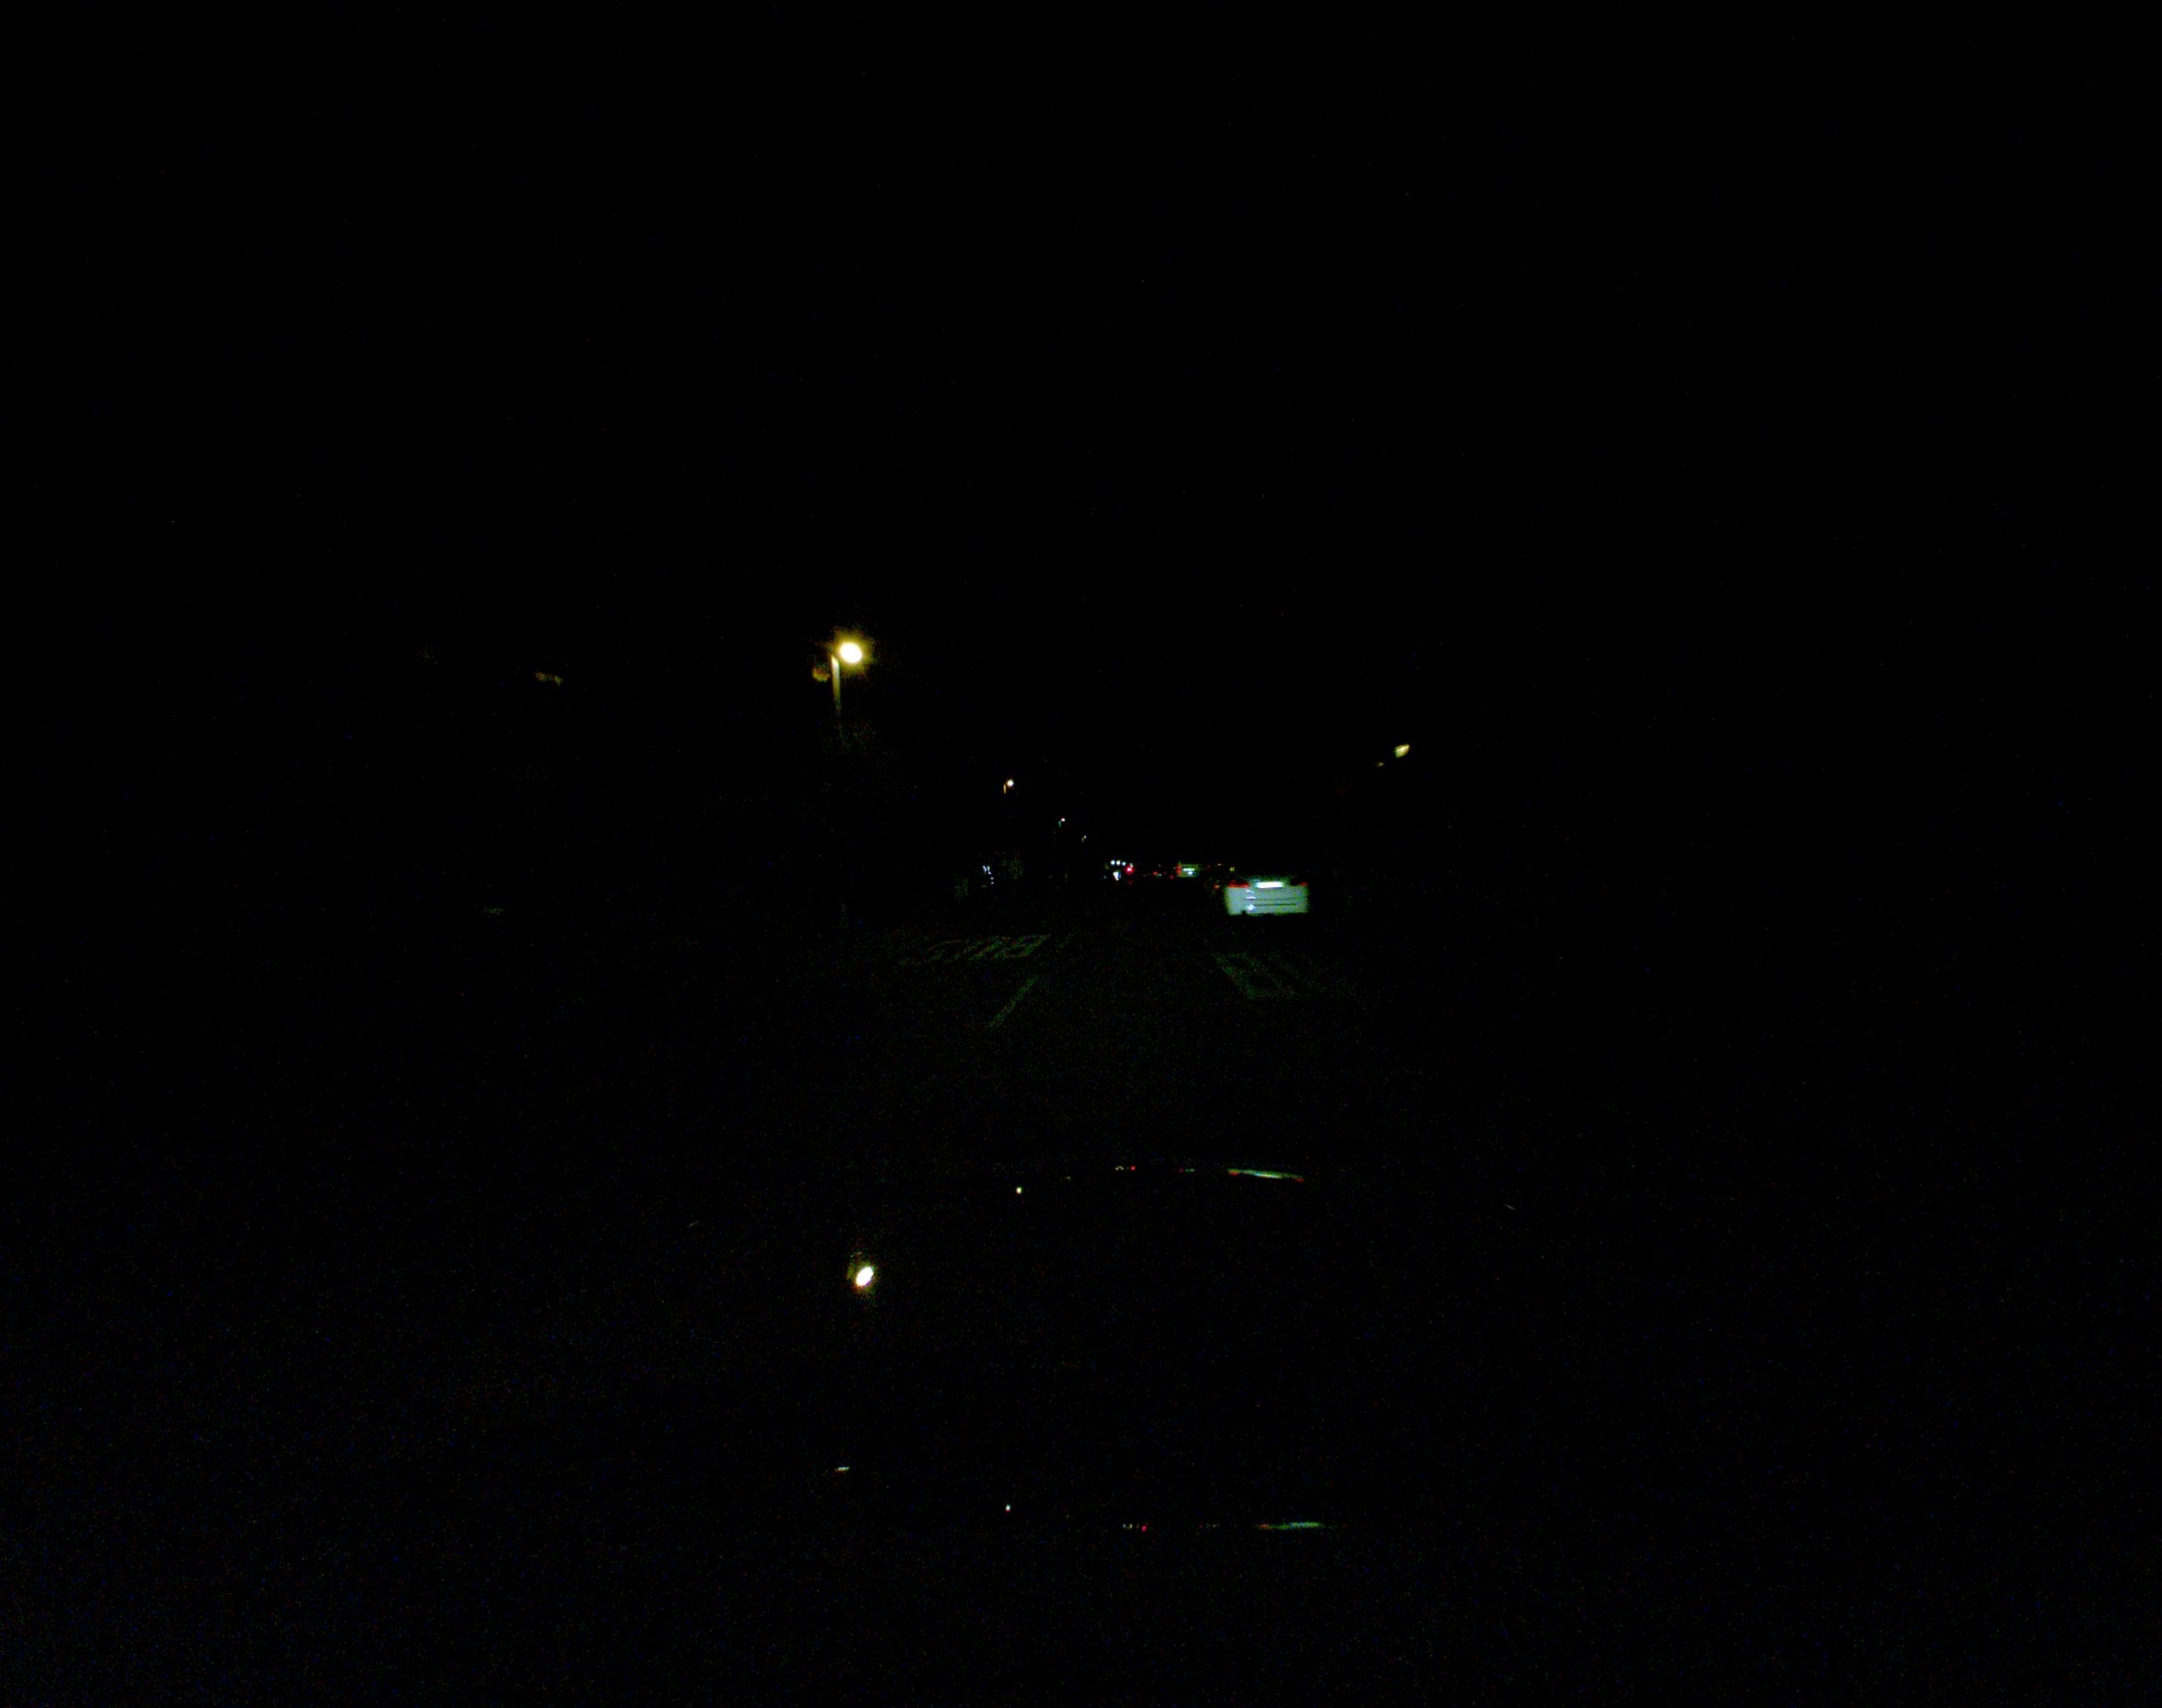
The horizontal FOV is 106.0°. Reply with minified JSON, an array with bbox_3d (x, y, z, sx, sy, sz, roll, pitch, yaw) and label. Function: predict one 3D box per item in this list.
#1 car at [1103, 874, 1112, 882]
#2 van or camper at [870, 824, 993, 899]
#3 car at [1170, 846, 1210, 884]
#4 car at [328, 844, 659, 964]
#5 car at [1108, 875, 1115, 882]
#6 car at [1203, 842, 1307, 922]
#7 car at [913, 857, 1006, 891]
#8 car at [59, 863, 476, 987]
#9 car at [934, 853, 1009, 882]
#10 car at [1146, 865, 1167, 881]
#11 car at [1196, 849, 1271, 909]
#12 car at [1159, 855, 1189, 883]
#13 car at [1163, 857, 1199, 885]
[{"bbox_3d":[5.612,5.015,171.234,1.747,1.540,3.730,-1,-2,0],"label":"car"},{"bbox_3d":[-6.962,0.326,38.533,5.393,3.110,2.128,-4,0,-7],"label":"van or camper"},{"bbox_3d":[5.348,0.524,40.490,1.711,1.761,4.763,0,-1,4],"label":"car"},{"bbox_3d":[-8.119,0.603,11.833,1.969,1.439,3.997,0,0,-2],"label":"car"},{"bbox_3d":[7.055,5.628,188.306,1.746,1.540,3.732,-1,-2,2],"label":"car"},{"bbox_3d":[3.856,0.574,18.733,1.747,1.594,4.734,0,0,5],"label":"car"},{"bbox_3d":[-6.252,1.044,42.240,4.397,1.613,2.067,-1,-2,4],"label":"car"},{"bbox_3d":[-11.195,0.865,11.711,1.841,1.427,4.004,0,0,3],"label":"car"},{"bbox_3d":[-5.998,0.753,45.071,3.795,1.555,1.929,0,0,3],"label":"car"},{"bbox_3d":[7.507,1.881,81.184,1.757,1.476,4.274,2,-2,0],"label":"car"},{"bbox_3d":[4.253,0.640,23.231,1.602,1.461,3.720,-3,1,3],"label":"car"},{"bbox_3d":[5.865,0.968,51.598,1.823,1.664,4.625,0,-2,6],"label":"car"},{"bbox_3d":[5.611,0.936,45.974,1.736,1.471,4.260,1,-1,3],"label":"car"}]
